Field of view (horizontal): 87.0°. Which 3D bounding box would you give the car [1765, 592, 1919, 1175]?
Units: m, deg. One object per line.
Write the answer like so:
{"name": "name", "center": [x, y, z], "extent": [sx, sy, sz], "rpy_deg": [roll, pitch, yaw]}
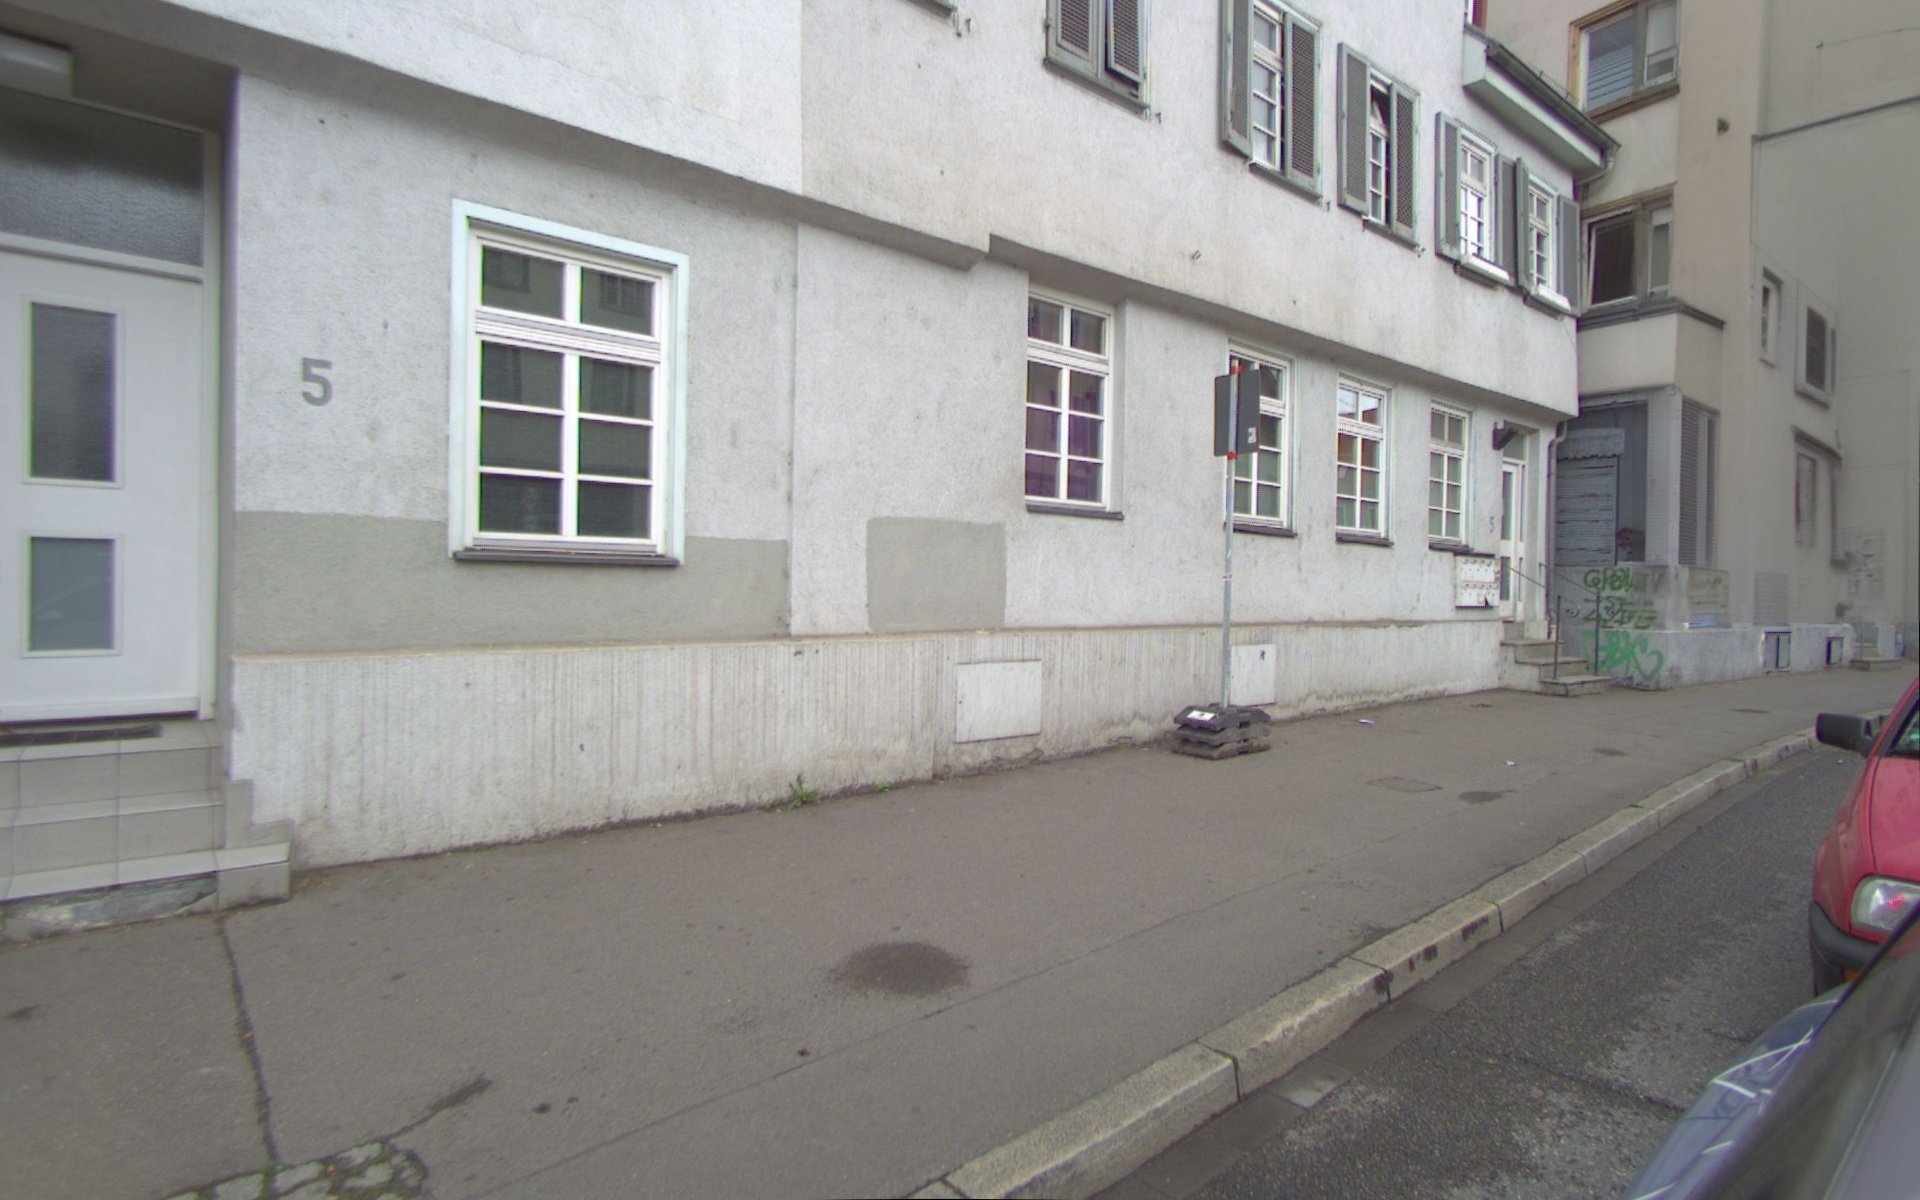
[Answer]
{"name": "car", "center": [4.452, 0.744, 3.549], "extent": [3.930, 1.443, 1.792], "rpy_deg": [-4, 3, -40]}
